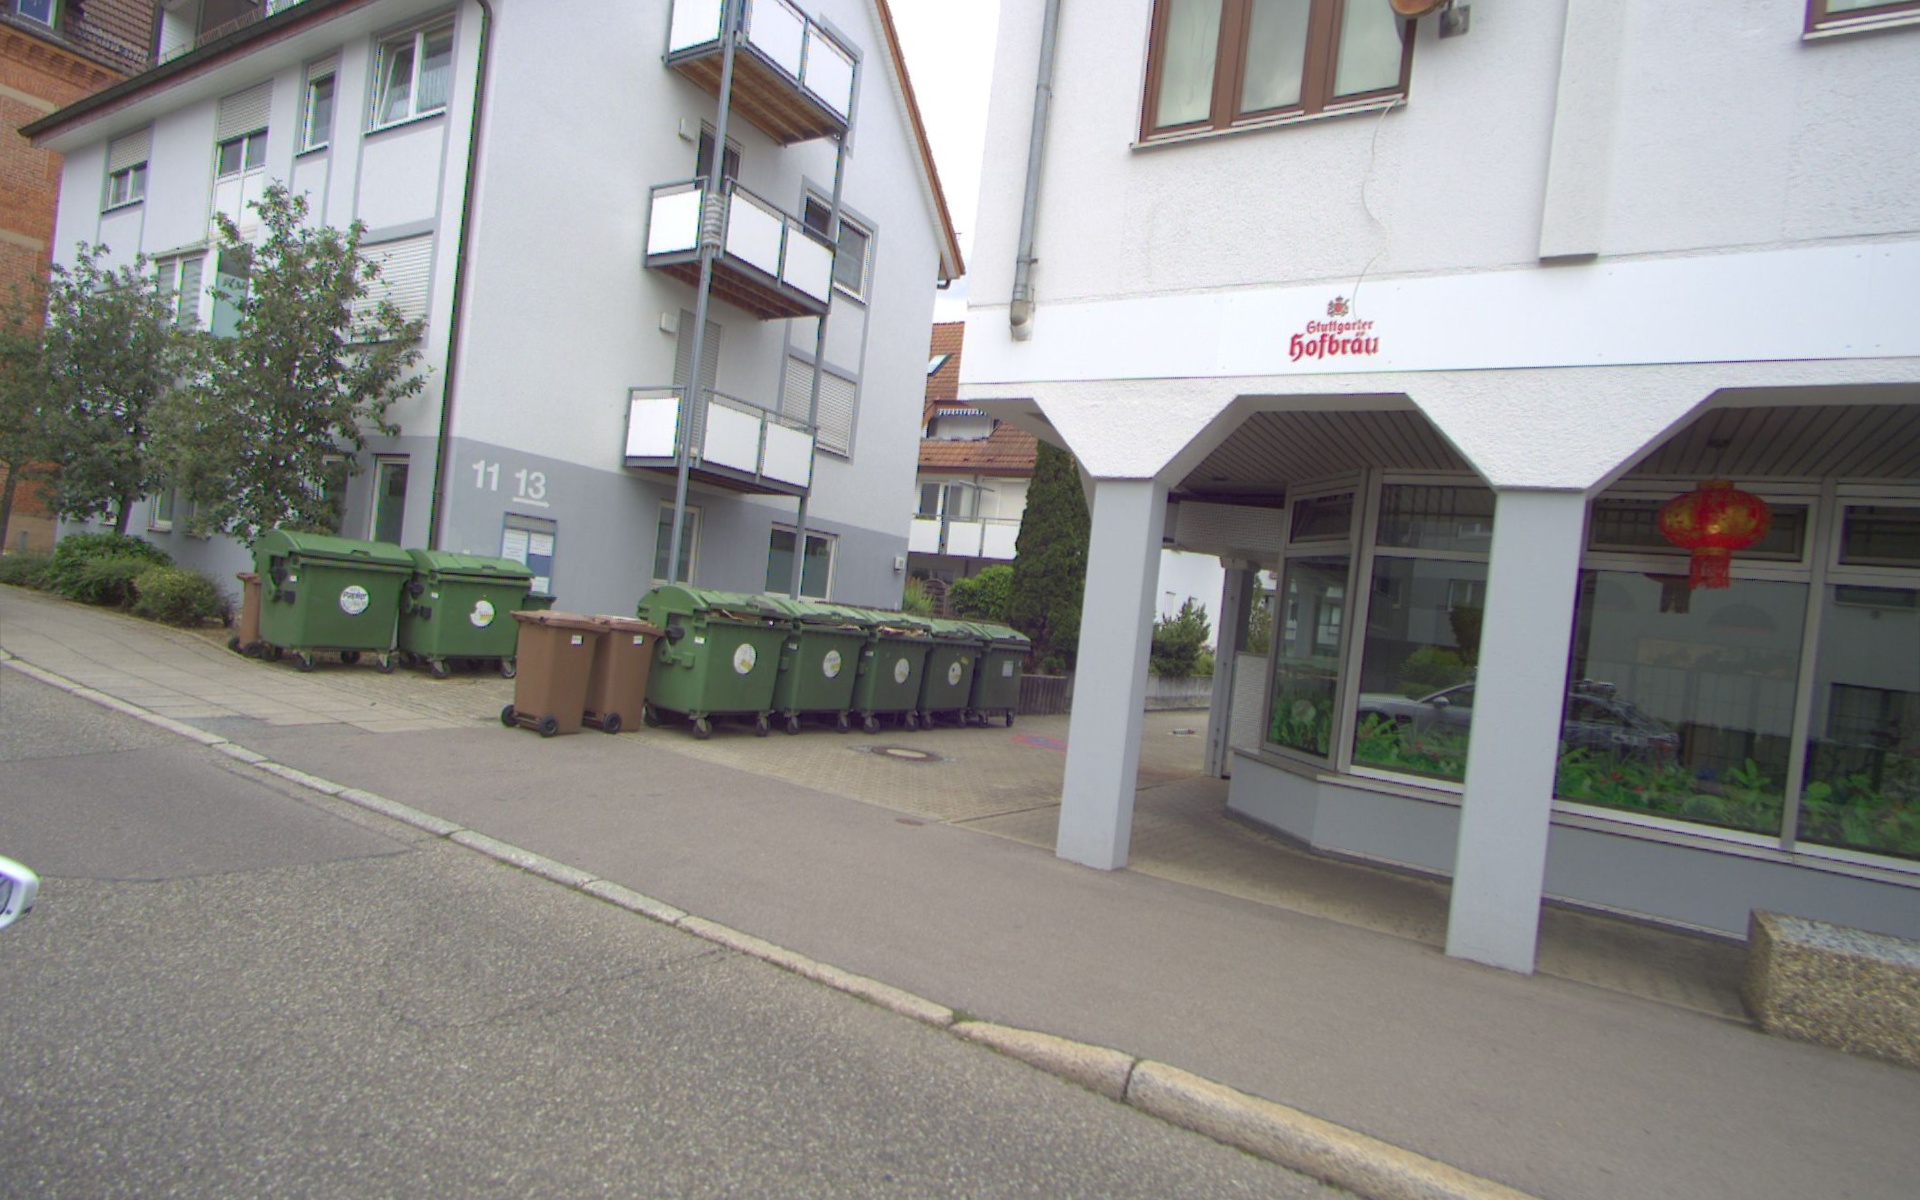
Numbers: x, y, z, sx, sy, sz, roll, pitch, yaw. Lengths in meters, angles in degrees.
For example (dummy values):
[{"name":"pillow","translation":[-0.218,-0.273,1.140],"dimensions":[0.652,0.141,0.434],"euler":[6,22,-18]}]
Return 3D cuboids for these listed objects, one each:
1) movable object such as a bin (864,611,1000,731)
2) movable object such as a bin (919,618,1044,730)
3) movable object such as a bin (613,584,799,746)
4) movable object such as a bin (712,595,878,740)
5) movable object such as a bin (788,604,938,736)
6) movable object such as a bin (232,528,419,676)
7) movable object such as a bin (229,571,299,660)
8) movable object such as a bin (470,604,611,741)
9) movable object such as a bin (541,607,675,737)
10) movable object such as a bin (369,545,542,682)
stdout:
[{"name":"movable object such as a bin","translation":[-0.377,0.975,13.833],"dimensions":[1.239,1.434,1.210],"euler":[7,0,35]},{"name":"movable object such as a bin","translation":[0.320,1.089,14.864],"dimensions":[1.239,1.434,1.210],"euler":[7,0,35]},{"name":"movable object such as a bin","translation":[-2.593,0.654,10.326],"dimensions":[1.239,1.434,1.210],"euler":[7,0,35]},{"name":"movable object such as a bin","translation":[-1.874,0.761,11.481],"dimensions":[1.239,1.434,1.210],"euler":[7,0,35]},{"name":"movable object such as a bin","translation":[-1.200,0.865,12.540],"dimensions":[1.239,1.434,1.210],"euler":[7,0,35]},{"name":"movable object such as a bin","translation":[-7.005,0.039,11.144],"dimensions":[1.143,1.434,1.269],"euler":[7,0,32]},{"name":"movable object such as a bin","translation":[-7.846,0.178,11.343],"dimensions":[0.457,0.932,0.430],"euler":[7,1,32]},{"name":"movable object such as a bin","translation":[-3.792,0.643,9.088],"dimensions":[0.956,1.080,0.683],"euler":[7,0,36]},{"name":"movable object such as a bin","translation":[-3.390,0.683,9.697],"dimensions":[0.956,1.092,0.698],"euler":[7,0,36]},{"name":"movable object such as a bin","translation":[-6.087,0.175,12.164],"dimensions":[1.286,1.452,1.269],"euler":[7,0,32]}]
